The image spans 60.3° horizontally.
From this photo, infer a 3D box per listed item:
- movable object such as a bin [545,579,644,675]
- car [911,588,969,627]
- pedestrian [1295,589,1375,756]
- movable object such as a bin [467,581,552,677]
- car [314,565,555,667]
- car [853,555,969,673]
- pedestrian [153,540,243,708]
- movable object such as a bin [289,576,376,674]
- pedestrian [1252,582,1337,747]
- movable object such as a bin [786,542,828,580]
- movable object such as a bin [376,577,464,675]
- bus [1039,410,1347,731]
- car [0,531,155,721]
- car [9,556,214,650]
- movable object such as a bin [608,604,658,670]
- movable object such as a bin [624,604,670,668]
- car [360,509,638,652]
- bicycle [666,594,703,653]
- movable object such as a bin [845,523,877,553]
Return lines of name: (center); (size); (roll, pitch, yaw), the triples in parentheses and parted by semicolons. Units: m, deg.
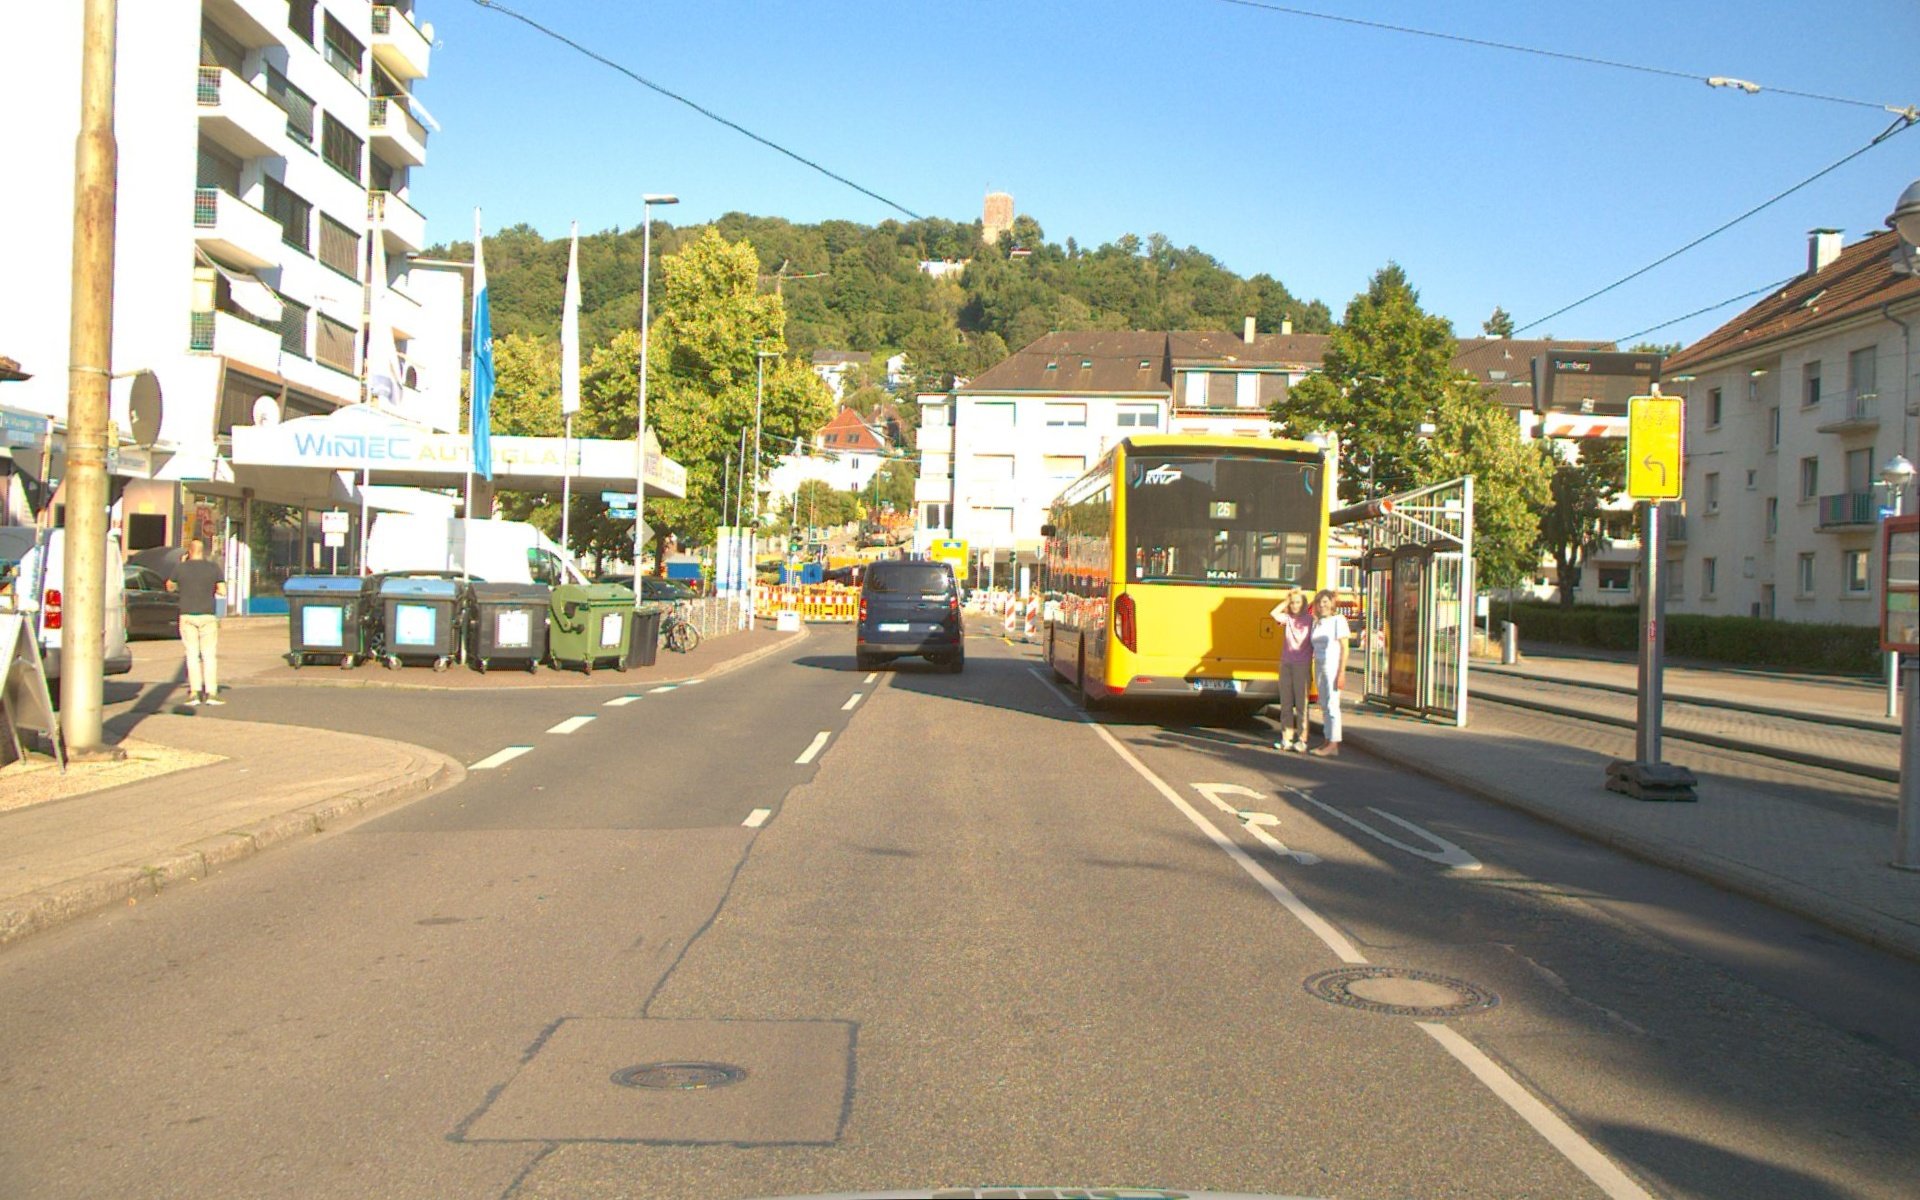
movable object such as a bin: (-6.202, 0.438, 28.087); (1.034, 1.508, 1.311); (3, 3, 27)
car: (-0.827, 0.270, 64.321); (1.760, 1.434, 3.993); (1, 0, -8)
pedestrian: (3.767, 0.716, 16.625); (0.540, 1.641, 0.542); (2, 0, -38)
movable object such as a bin: (-7.367, 0.459, 27.045); (1.205, 1.508, 0.697); (0, 3, -30)
car: (-9.255, 0.280, 29.424); (3.921, 1.595, 1.766); (3, 1, -15)
car: (-0.884, 0.255, 31.462); (2.020, 2.049, 4.999); (0, 0, -1)
pedestrian: (-8.839, 0.271, 19.220); (0.804, 1.900, 0.791); (1, 0, -17)
movable object such as a bin: (-10.092, 0.391, 26.630); (1.155, 1.508, 0.703); (1, 3, -5)
pedestrian: (3.430, 0.650, 16.955); (0.540, 1.641, 0.627); (2, 0, -38)
movable object such as a bin: (-11.588, -2.928, 125.699); (2.144, 2.737, 4.003); (1, 0, 10)
movable object such as a bin: (-8.727, 0.410, 26.754); (1.194, 1.508, 0.703); (1, 3, -5)
bus: (2.860, -0.373, 24.232); (2.633, 3.476, 12.017); (1, 0, -1)
car: (-11.621, 0.228, 18.153); (4.522, 1.967, 1.999); (1, 0, -3)
car: (-16.075, 0.030, 31.588); (1.731, 1.595, 4.314); (3, 1, -2)
movable object such as a bin: (-5.753, 0.649, 29.115); (0.646, 1.081, 0.585); (4, 2, 11)
movable object such as a bin: (-5.618, 0.637, 29.713); (0.626, 1.088, 0.581); (2, 3, 11)
car: (-9.035, -0.348, 32.407); (4.986, 2.512, 2.094); (2, 0, -23)
bicycle: (-5.812, 0.484, 34.914); (0.710, 1.198, 1.777); (2, 0, -10)
movable object such as a bin: (-9.612, -5.975, 160.254); (2.144, 2.737, 4.003); (1, 0, 10)
